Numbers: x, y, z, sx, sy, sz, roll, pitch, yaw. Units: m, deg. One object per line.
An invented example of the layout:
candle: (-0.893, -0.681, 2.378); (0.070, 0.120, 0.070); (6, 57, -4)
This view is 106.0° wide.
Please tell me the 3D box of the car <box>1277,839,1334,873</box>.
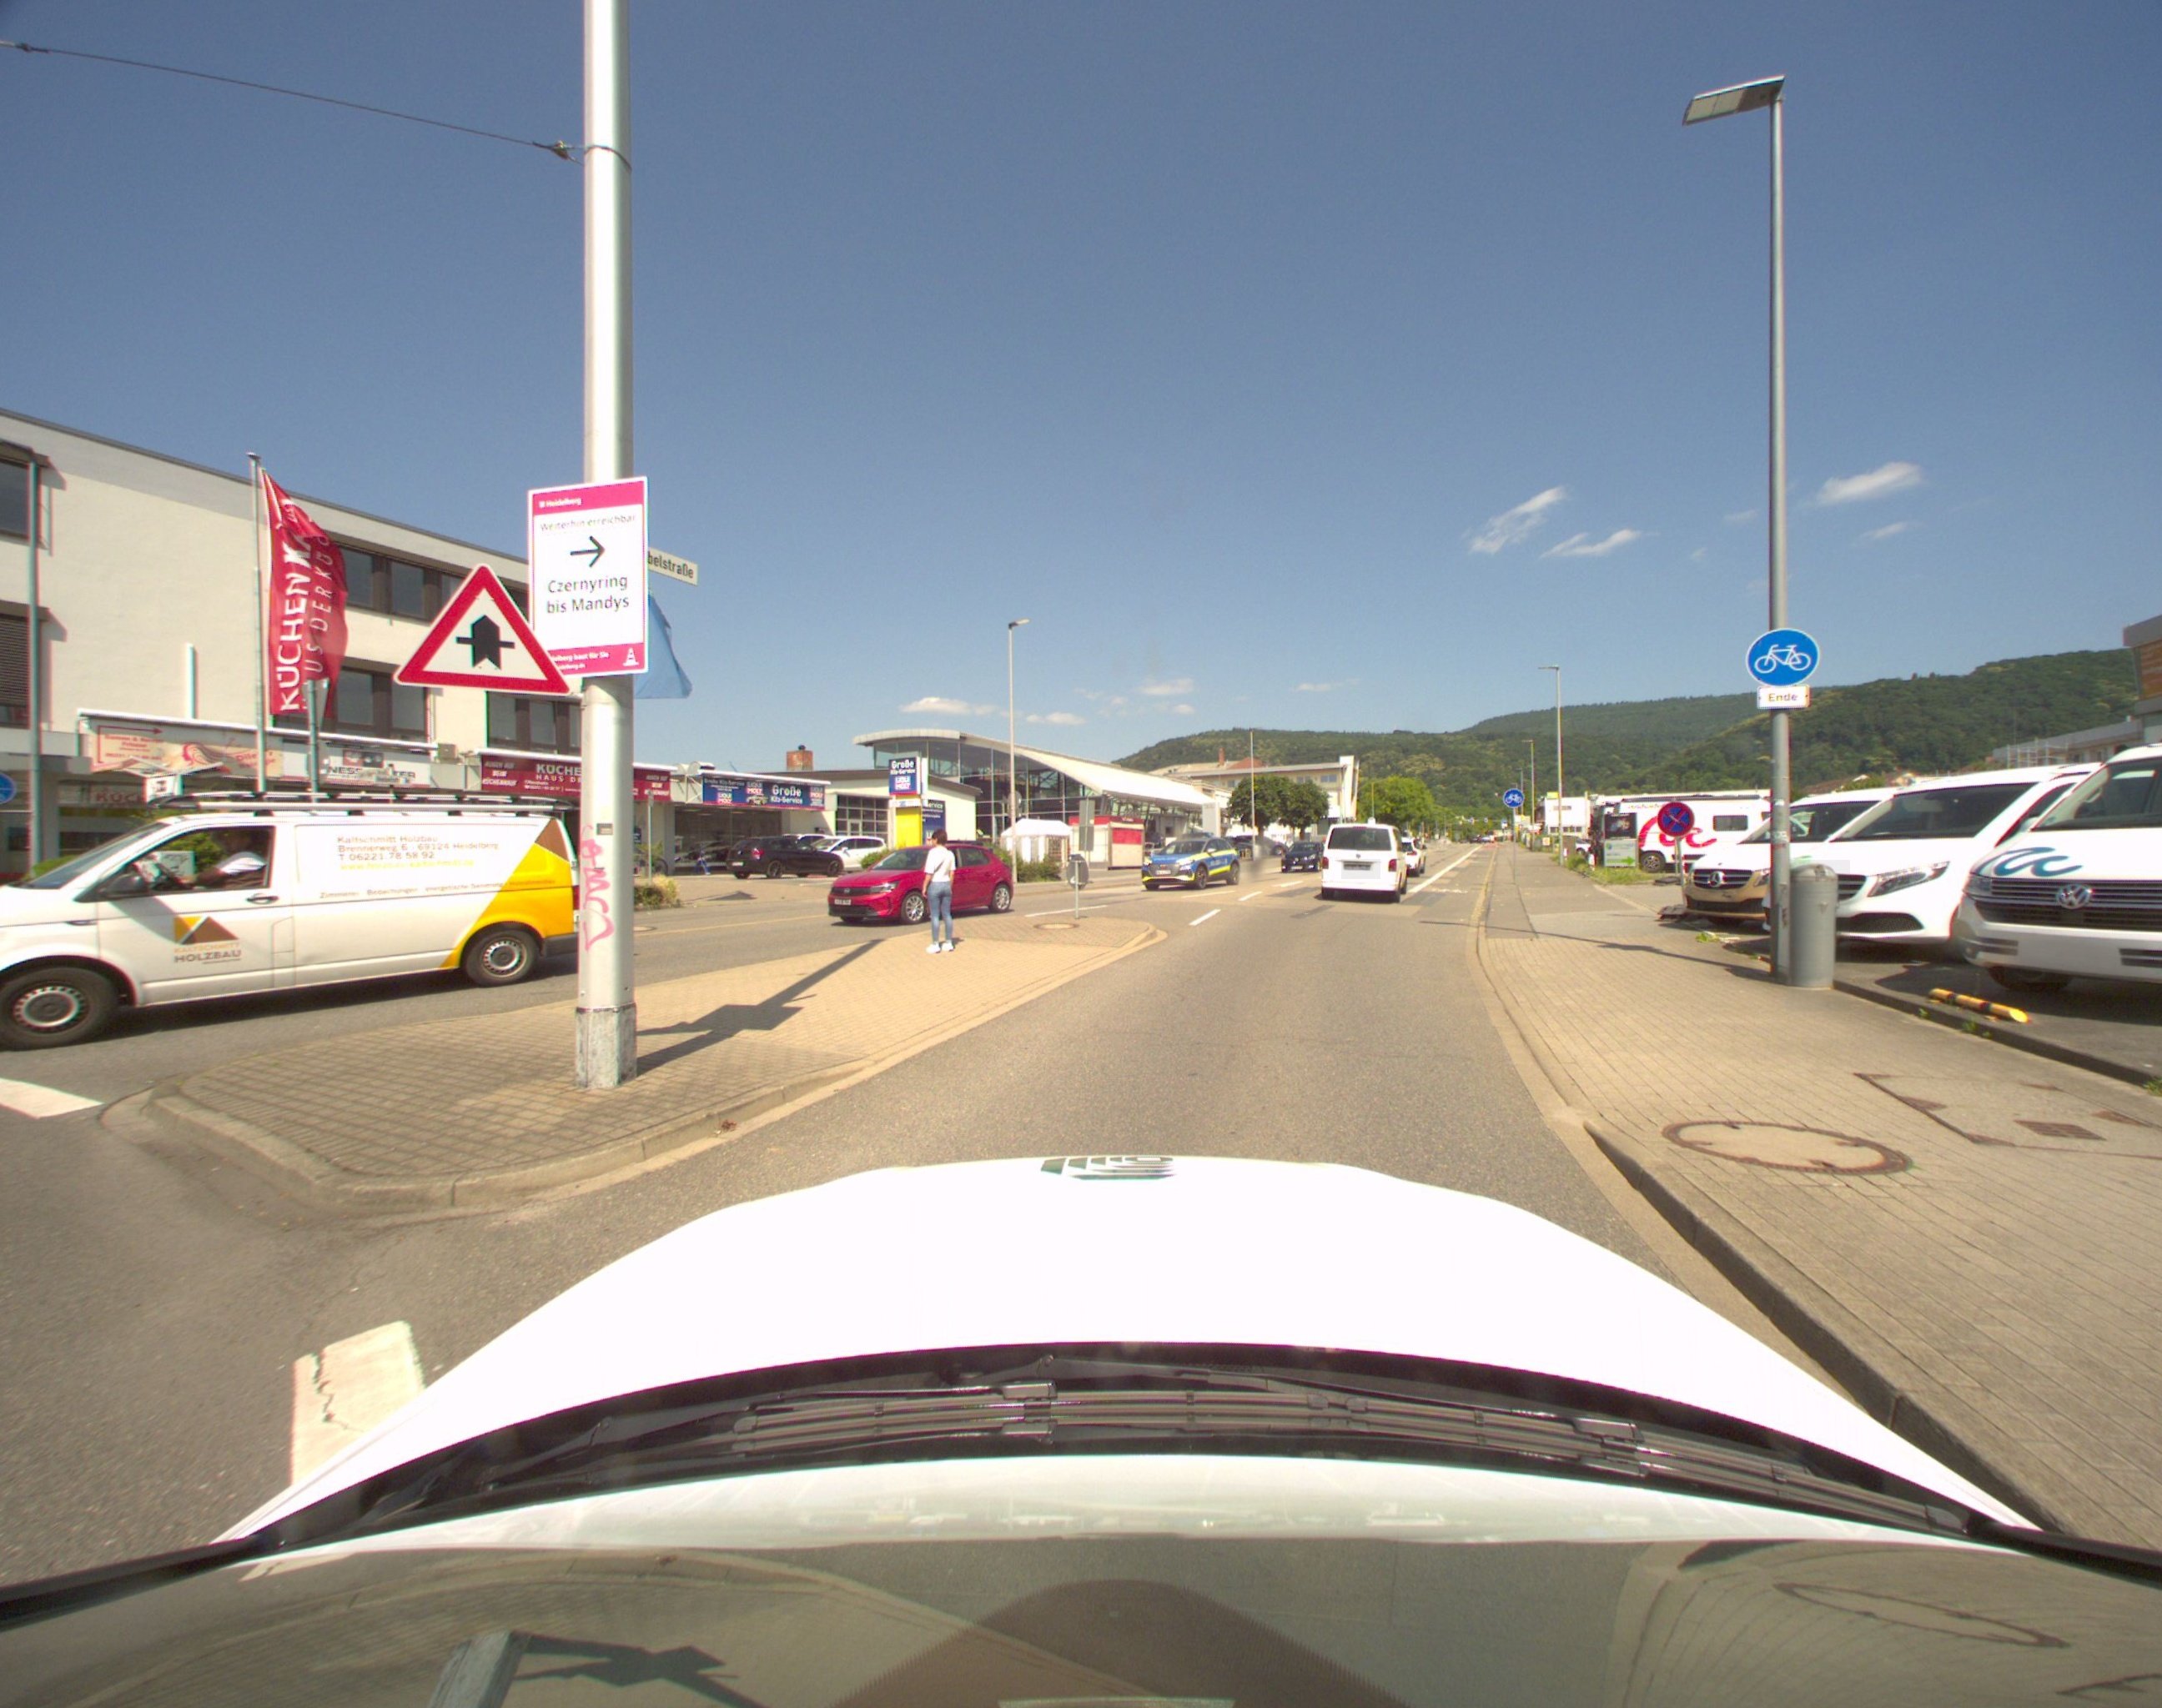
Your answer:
car: (10.698, 0.073, 38.675); (1.824, 1.464, 4.024); (-1, 1, 27)

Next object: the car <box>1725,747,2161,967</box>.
car: (10.314, -0.035, 8.889); (5.120, 2.013, 1.929); (-2, 1, -3)

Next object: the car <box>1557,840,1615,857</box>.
car: (40.451, -0.439, 65.303); (1.660, 1.310, 3.677); (-1, 1, -22)

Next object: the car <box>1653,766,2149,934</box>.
car: (11.423, -0.050, 11.616); (5.128, 2.094, 2.048); (-1, -1, -3)

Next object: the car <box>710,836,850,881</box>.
car: (-10.335, 0.114, 28.340); (2.007, 1.427, 4.343); (-1, 1, 26)

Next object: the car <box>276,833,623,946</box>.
car: (-12.708, 0.570, 16.882); (1.941, 1.965, 5.314); (-1, 1, 31)

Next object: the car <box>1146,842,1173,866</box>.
car: (5.509, -0.026, 56.863); (1.736, 1.585, 3.669); (-1, 1, 7)

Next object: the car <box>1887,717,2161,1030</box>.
car: (9.379, 0.048, 6.060); (5.137, 2.000, 2.020); (-2, 0, -7)

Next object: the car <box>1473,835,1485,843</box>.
car: (66.398, -2.546, 135.787); (1.702, 1.303, 4.024); (-1, 1, 27)

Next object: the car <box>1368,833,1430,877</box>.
car: (13.360, 0.002, 34.076); (1.975, 1.707, 4.024); (2, 2, 27)

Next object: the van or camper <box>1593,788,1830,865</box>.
van or camper: (23.246, -0.933, 30.634); (6.543, 2.561, 3.775); (-1, 1, 29)

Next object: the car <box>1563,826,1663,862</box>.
car: (27.749, -0.476, 42.675); (4.259, 1.752, 1.990); (-1, -1, 29)

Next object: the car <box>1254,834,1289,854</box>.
car: (15.758, -0.815, 67.688); (1.743, 1.585, 3.654); (-1, 1, -6)

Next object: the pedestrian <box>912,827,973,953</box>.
pedestrian: (-1.907, 0.470, 11.163); (0.760, 1.656, 0.669); (-1, 0, -14)

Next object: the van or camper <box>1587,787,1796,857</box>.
van or camper: (25.058, -1.242, 33.944); (6.543, 2.561, 3.421); (-1, 1, 29)

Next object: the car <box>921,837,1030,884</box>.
car: (-3.923, 0.219, 30.904); (1.974, 1.618, 4.025); (-1, 1, 30)

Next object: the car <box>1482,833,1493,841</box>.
car: (83.424, -3.502, 167.119); (1.975, 1.684, 4.024); (-1, 1, 27)

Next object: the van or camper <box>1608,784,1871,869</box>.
van or camper: (21.782, -0.832, 27.501); (6.442, 2.561, 2.993); (-1, 1, 29)

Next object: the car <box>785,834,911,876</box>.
car: (-9.690, 0.013, 34.229); (1.862, 1.588, 4.960); (-3, 0, 35)

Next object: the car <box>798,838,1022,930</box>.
car: (-3.126, 0.483, 15.734); (1.823, 1.464, 4.170); (-2, 1, 31)

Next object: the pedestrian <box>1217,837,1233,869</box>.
pedestrian: (8.042, -0.070, 45.609); (0.754, 1.788, 0.931); (-1, 0, 16)

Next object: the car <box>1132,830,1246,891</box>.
car: (3.547, 0.151, 26.077); (1.890, 1.760, 4.480); (-1, 1, 32)

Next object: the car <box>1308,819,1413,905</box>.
car: (7.698, 0.084, 22.055); (2.143, 2.013, 5.047); (2, 3, 25)

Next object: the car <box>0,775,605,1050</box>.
car: (-7.998, 0.393, 8.347); (2.002, 2.114, 4.966); (0, 2, 38)
